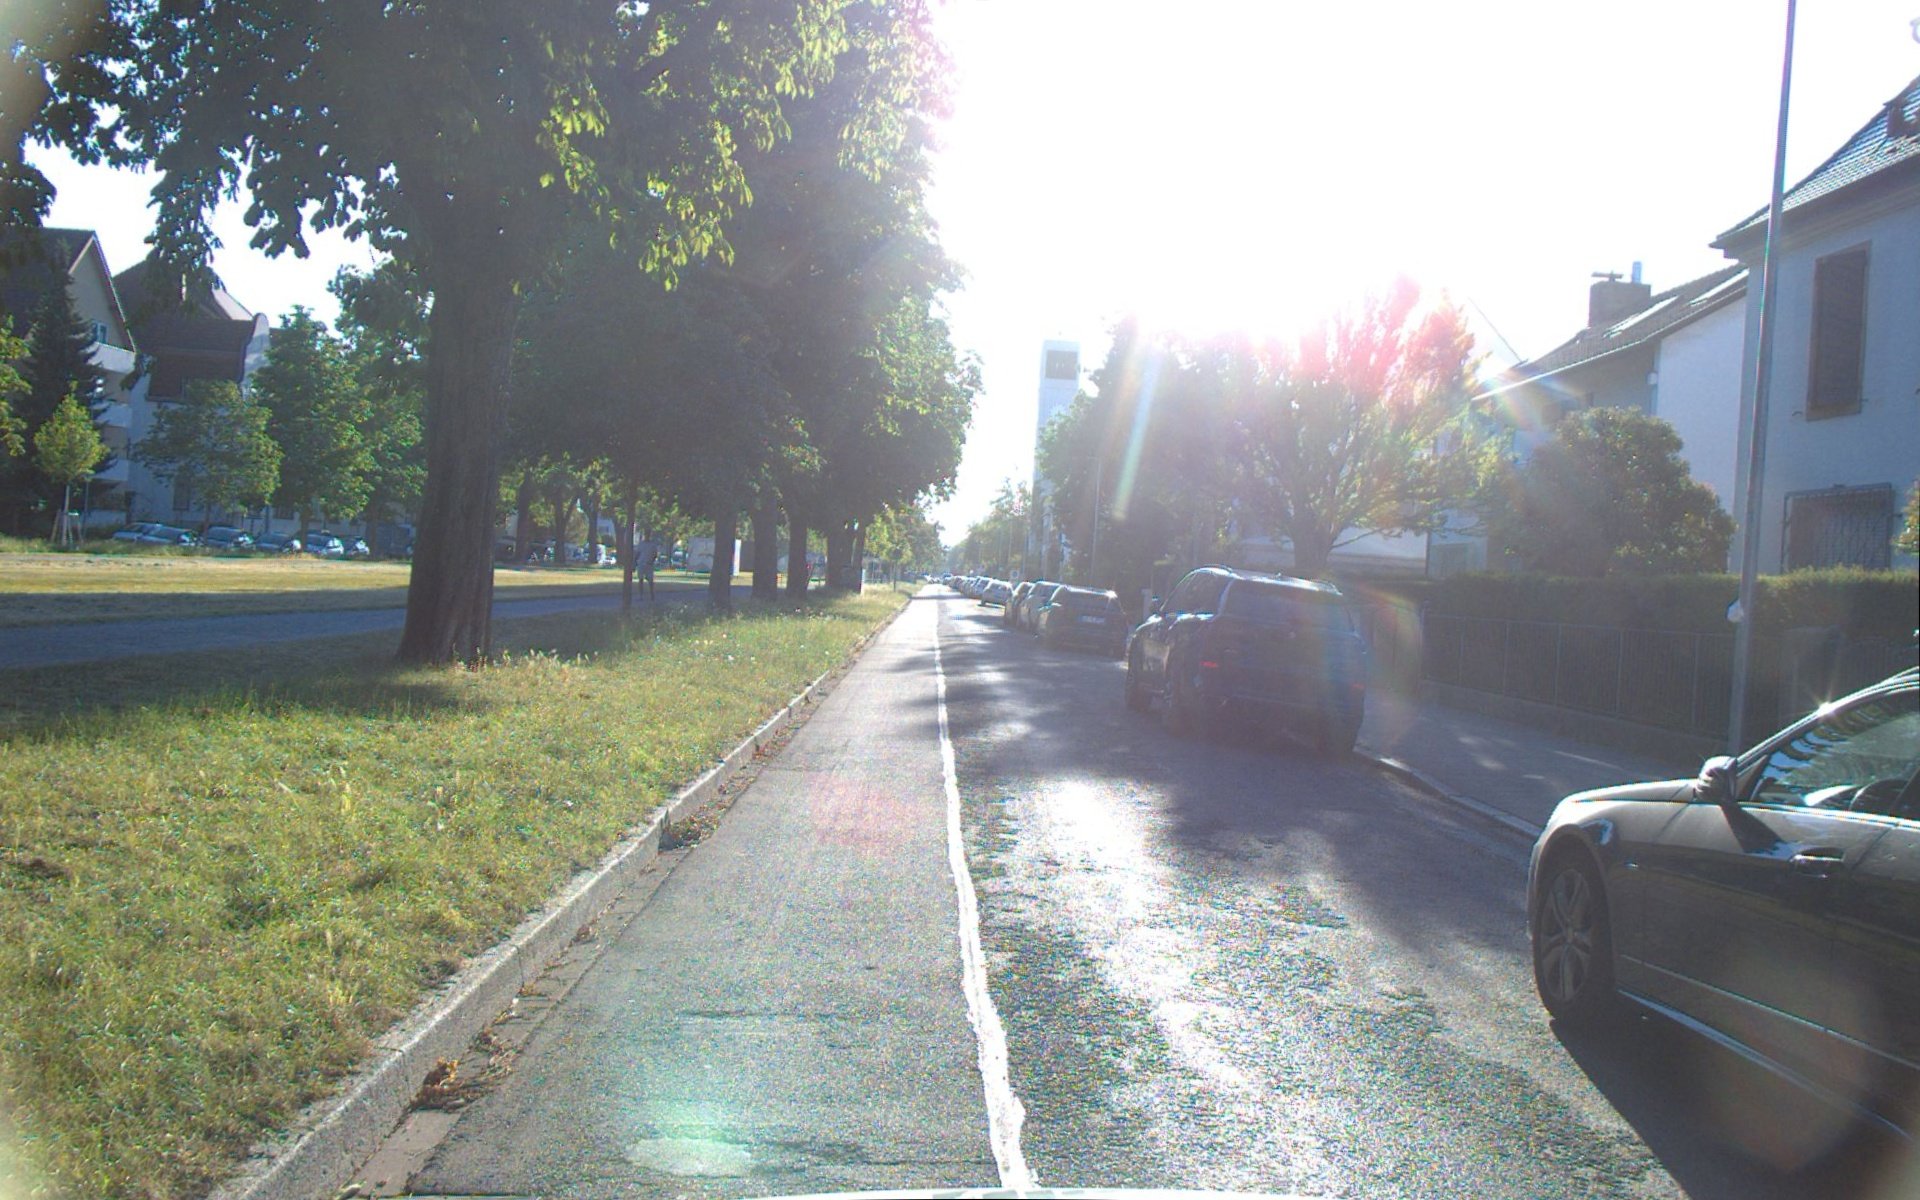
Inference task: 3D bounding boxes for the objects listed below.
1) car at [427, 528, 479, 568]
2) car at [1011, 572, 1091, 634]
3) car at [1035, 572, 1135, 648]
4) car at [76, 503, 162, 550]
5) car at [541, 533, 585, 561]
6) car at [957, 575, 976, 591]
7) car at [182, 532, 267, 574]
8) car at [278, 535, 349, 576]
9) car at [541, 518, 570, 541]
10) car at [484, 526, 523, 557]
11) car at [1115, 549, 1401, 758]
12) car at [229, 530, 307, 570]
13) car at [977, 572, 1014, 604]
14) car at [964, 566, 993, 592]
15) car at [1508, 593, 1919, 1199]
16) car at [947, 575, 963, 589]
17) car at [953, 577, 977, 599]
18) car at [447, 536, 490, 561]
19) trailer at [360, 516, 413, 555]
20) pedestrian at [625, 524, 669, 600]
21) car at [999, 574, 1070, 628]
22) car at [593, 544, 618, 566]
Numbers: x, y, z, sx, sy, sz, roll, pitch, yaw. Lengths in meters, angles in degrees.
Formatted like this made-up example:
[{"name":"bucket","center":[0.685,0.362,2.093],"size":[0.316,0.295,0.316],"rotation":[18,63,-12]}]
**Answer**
[{"name":"car","center":[-40.776,-4.158,133.077],"size":[2.388,2.973,5.817],"rotation":[1,0,-1]},{"name":"car","center":[2.612,0.056,48.530],"size":[1.659,1.507,3.925],"rotation":[8,1,-5]},{"name":"car","center":[2.822,0.198,38.234],"size":[1.757,1.517,4.673],"rotation":[4,0,-2]},{"name":"car","center":[-40.004,-3.462,78.742],"size":[1.990,2.049,4.000],"rotation":[1,0,0]},{"name":"car","center":[-34.958,-4.677,145.788],"size":[2.483,2.275,5.459],"rotation":[3,1,-1]},{"name":"car","center":[0.754,-1.840,181.382],"size":[1.953,1.657,4.000],"rotation":[4,1,0]},{"name":"car","center":[-34.023,-2.170,76.651],"size":[1.953,1.713,4.001],"rotation":[4,0,1]},{"name":"car","center":[-34.333,-2.340,87.889],"size":[1.953,1.892,4.255],"rotation":[4,0,0]},{"name":"car","center":[-41.645,-7.217,170.281],"size":[1.954,2.048,4.482],"rotation":[-4,0,-3]},{"name":"car","center":[-35.069,-4.446,127.091],"size":[1.650,2.213,4.315],"rotation":[4,1,0]},{"name":"car","center":[3.127,0.480,18.515],"size":[1.955,1.766,4.862],"rotation":[8,1,-2]},{"name":"car","center":[-34.351,-2.448,82.252],"size":[1.953,1.751,4.255],"rotation":[4,0,0]},{"name":"car","center":[1.929,-0.670,90.801],"size":[1.723,1.443,4.072],"rotation":[10,1,-1]},{"name":"car","center":[1.252,-1.449,114.133],"size":[1.723,1.632,4.357],"rotation":[3,1,-2]},{"name":"car","center":[3.188,0.853,4.346],"size":[1.745,1.487,4.593],"rotation":[6,1,-1]},{"name":"car","center":[-0.672,-2.323,215.887],"size":[1.940,1.712,4.000],"rotation":[4,1,0]},{"name":"car","center":[0.374,-0.954,134.555],"size":[1.723,1.632,4.357],"rotation":[3,1,-2]},{"name":"car","center":[-34.583,-3.595,116.525],"size":[1.650,1.586,4.314],"rotation":[4,1,0]},{"name":"trailer","center":[-40.306,-4.511,116.314],"size":[1.953,2.470,4.723],"rotation":[3,1,0]},{"name":"pedestrian","center":[-7.709,-0.935,40.798],"size":[0.709,1.788,0.994],"rotation":[4,1,5]},{"name":"car","center":[2.361,-0.002,53.536],"size":[1.715,1.502,4.286],"rotation":[5,1,-4]},{"name":"car","center":[-41.732,-5.293,194.737],"size":[1.953,2.451,4.363],"rotation":[1,0,-1]}]
